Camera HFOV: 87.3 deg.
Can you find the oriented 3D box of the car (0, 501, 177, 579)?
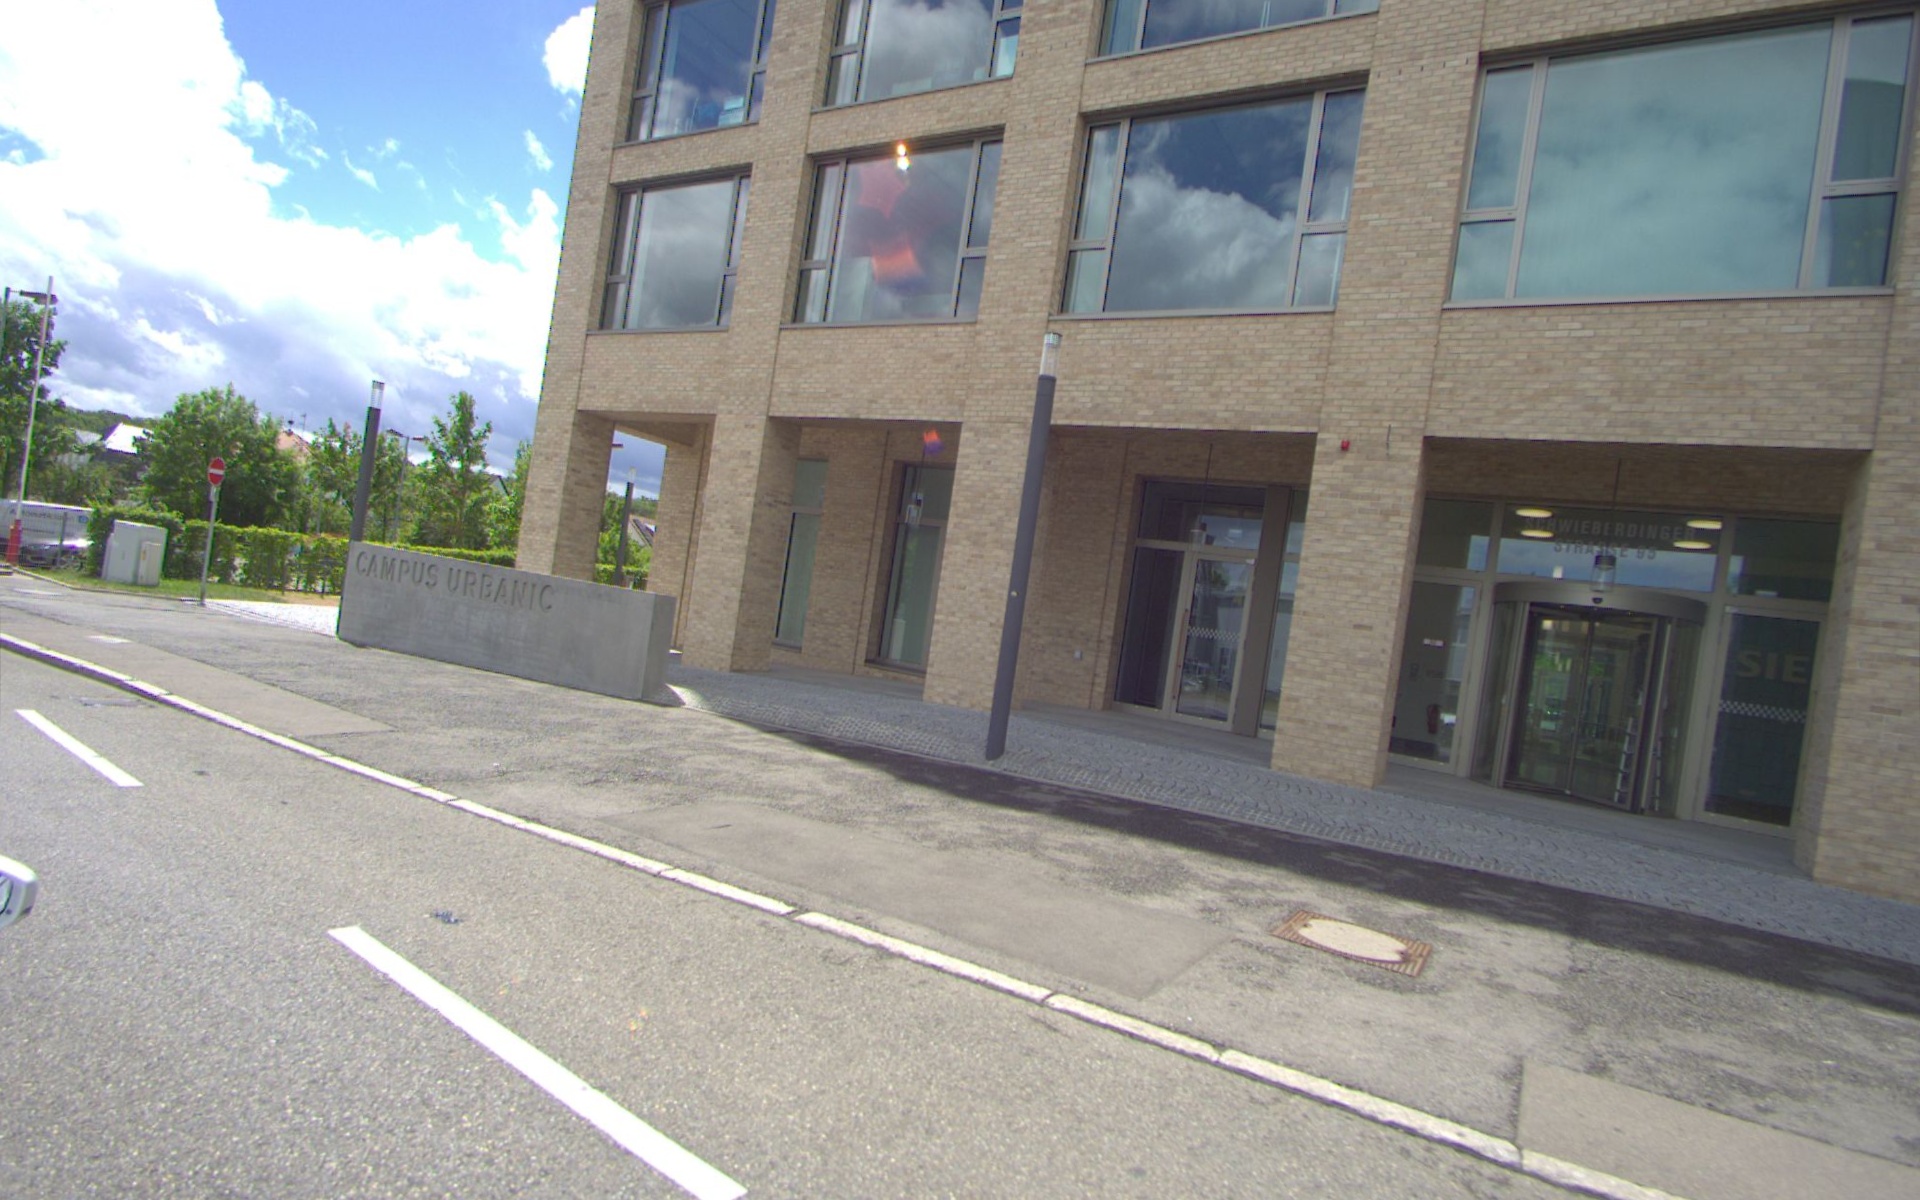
[{"bbox_3d":[-27.505,-1.856,31.097,2.051,1.871,4.720,6,-1,24],"label":"car"}]

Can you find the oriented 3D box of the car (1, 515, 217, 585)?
[{"bbox_3d":[-25.066,-1.437,29.804,1.967,1.499,4.438,5,-1,31],"label":"car"}]
